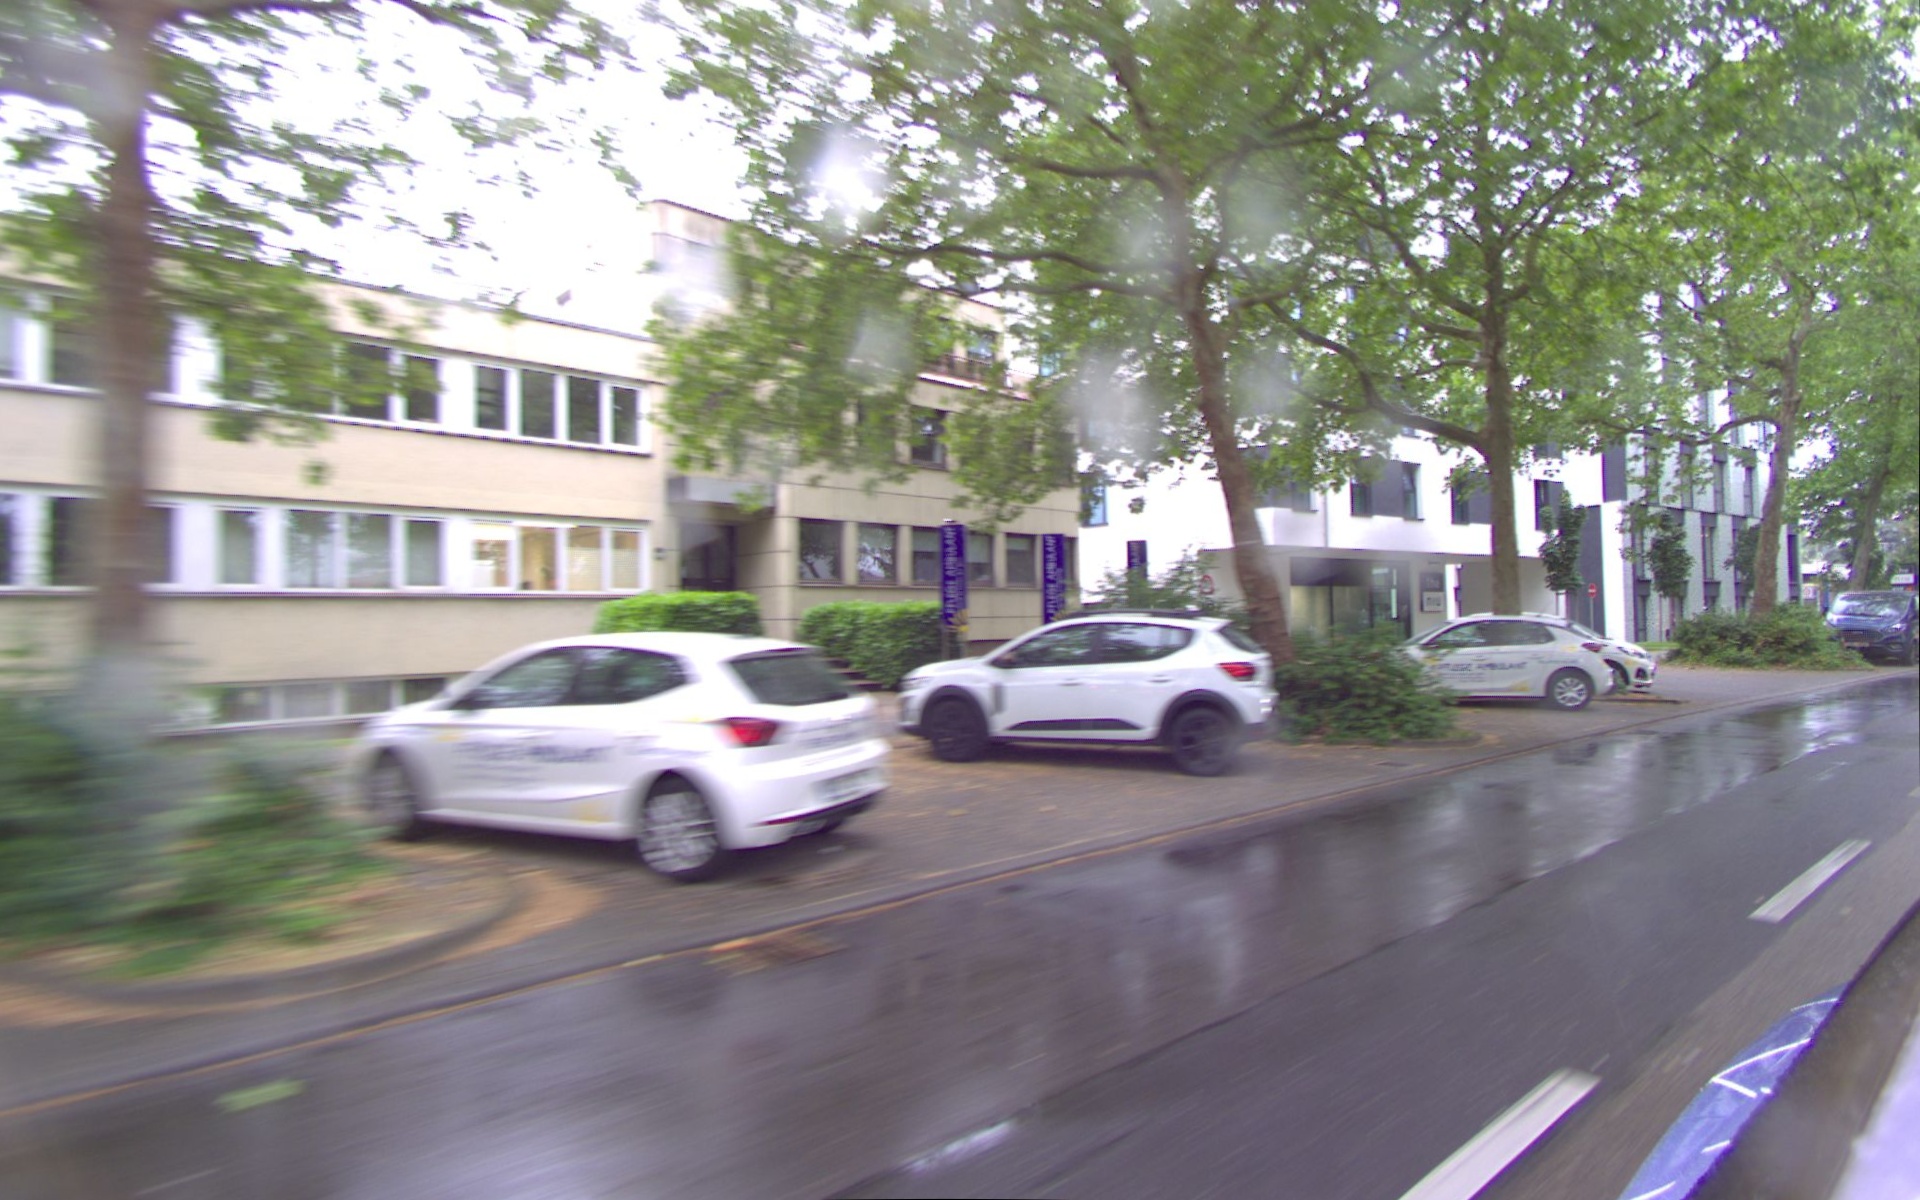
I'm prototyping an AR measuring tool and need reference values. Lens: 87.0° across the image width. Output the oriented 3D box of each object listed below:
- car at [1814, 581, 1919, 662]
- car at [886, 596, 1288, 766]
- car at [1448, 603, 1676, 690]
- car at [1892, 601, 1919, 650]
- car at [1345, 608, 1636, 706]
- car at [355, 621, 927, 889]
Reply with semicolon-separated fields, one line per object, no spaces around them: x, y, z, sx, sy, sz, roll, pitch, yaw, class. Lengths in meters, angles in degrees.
26.258;0.553;28.343;5.421;2.054;2.128;0;-1;-34;car
1.384;0.794;10.838;3.987;1.559;1.737;-1;-1;20;car
11.607;0.854;19.609;3.626;1.524;1.725;-1;-2;38;car
31.210;0.770;31.880;4.223;1.488;1.749;0;-1;-34;car
8.440;0.891;16.526;3.990;1.447;1.736;-1;-1;22;car
-2.246;0.899;7.108;3.653;1.434;1.734;-1;-1;25;car
